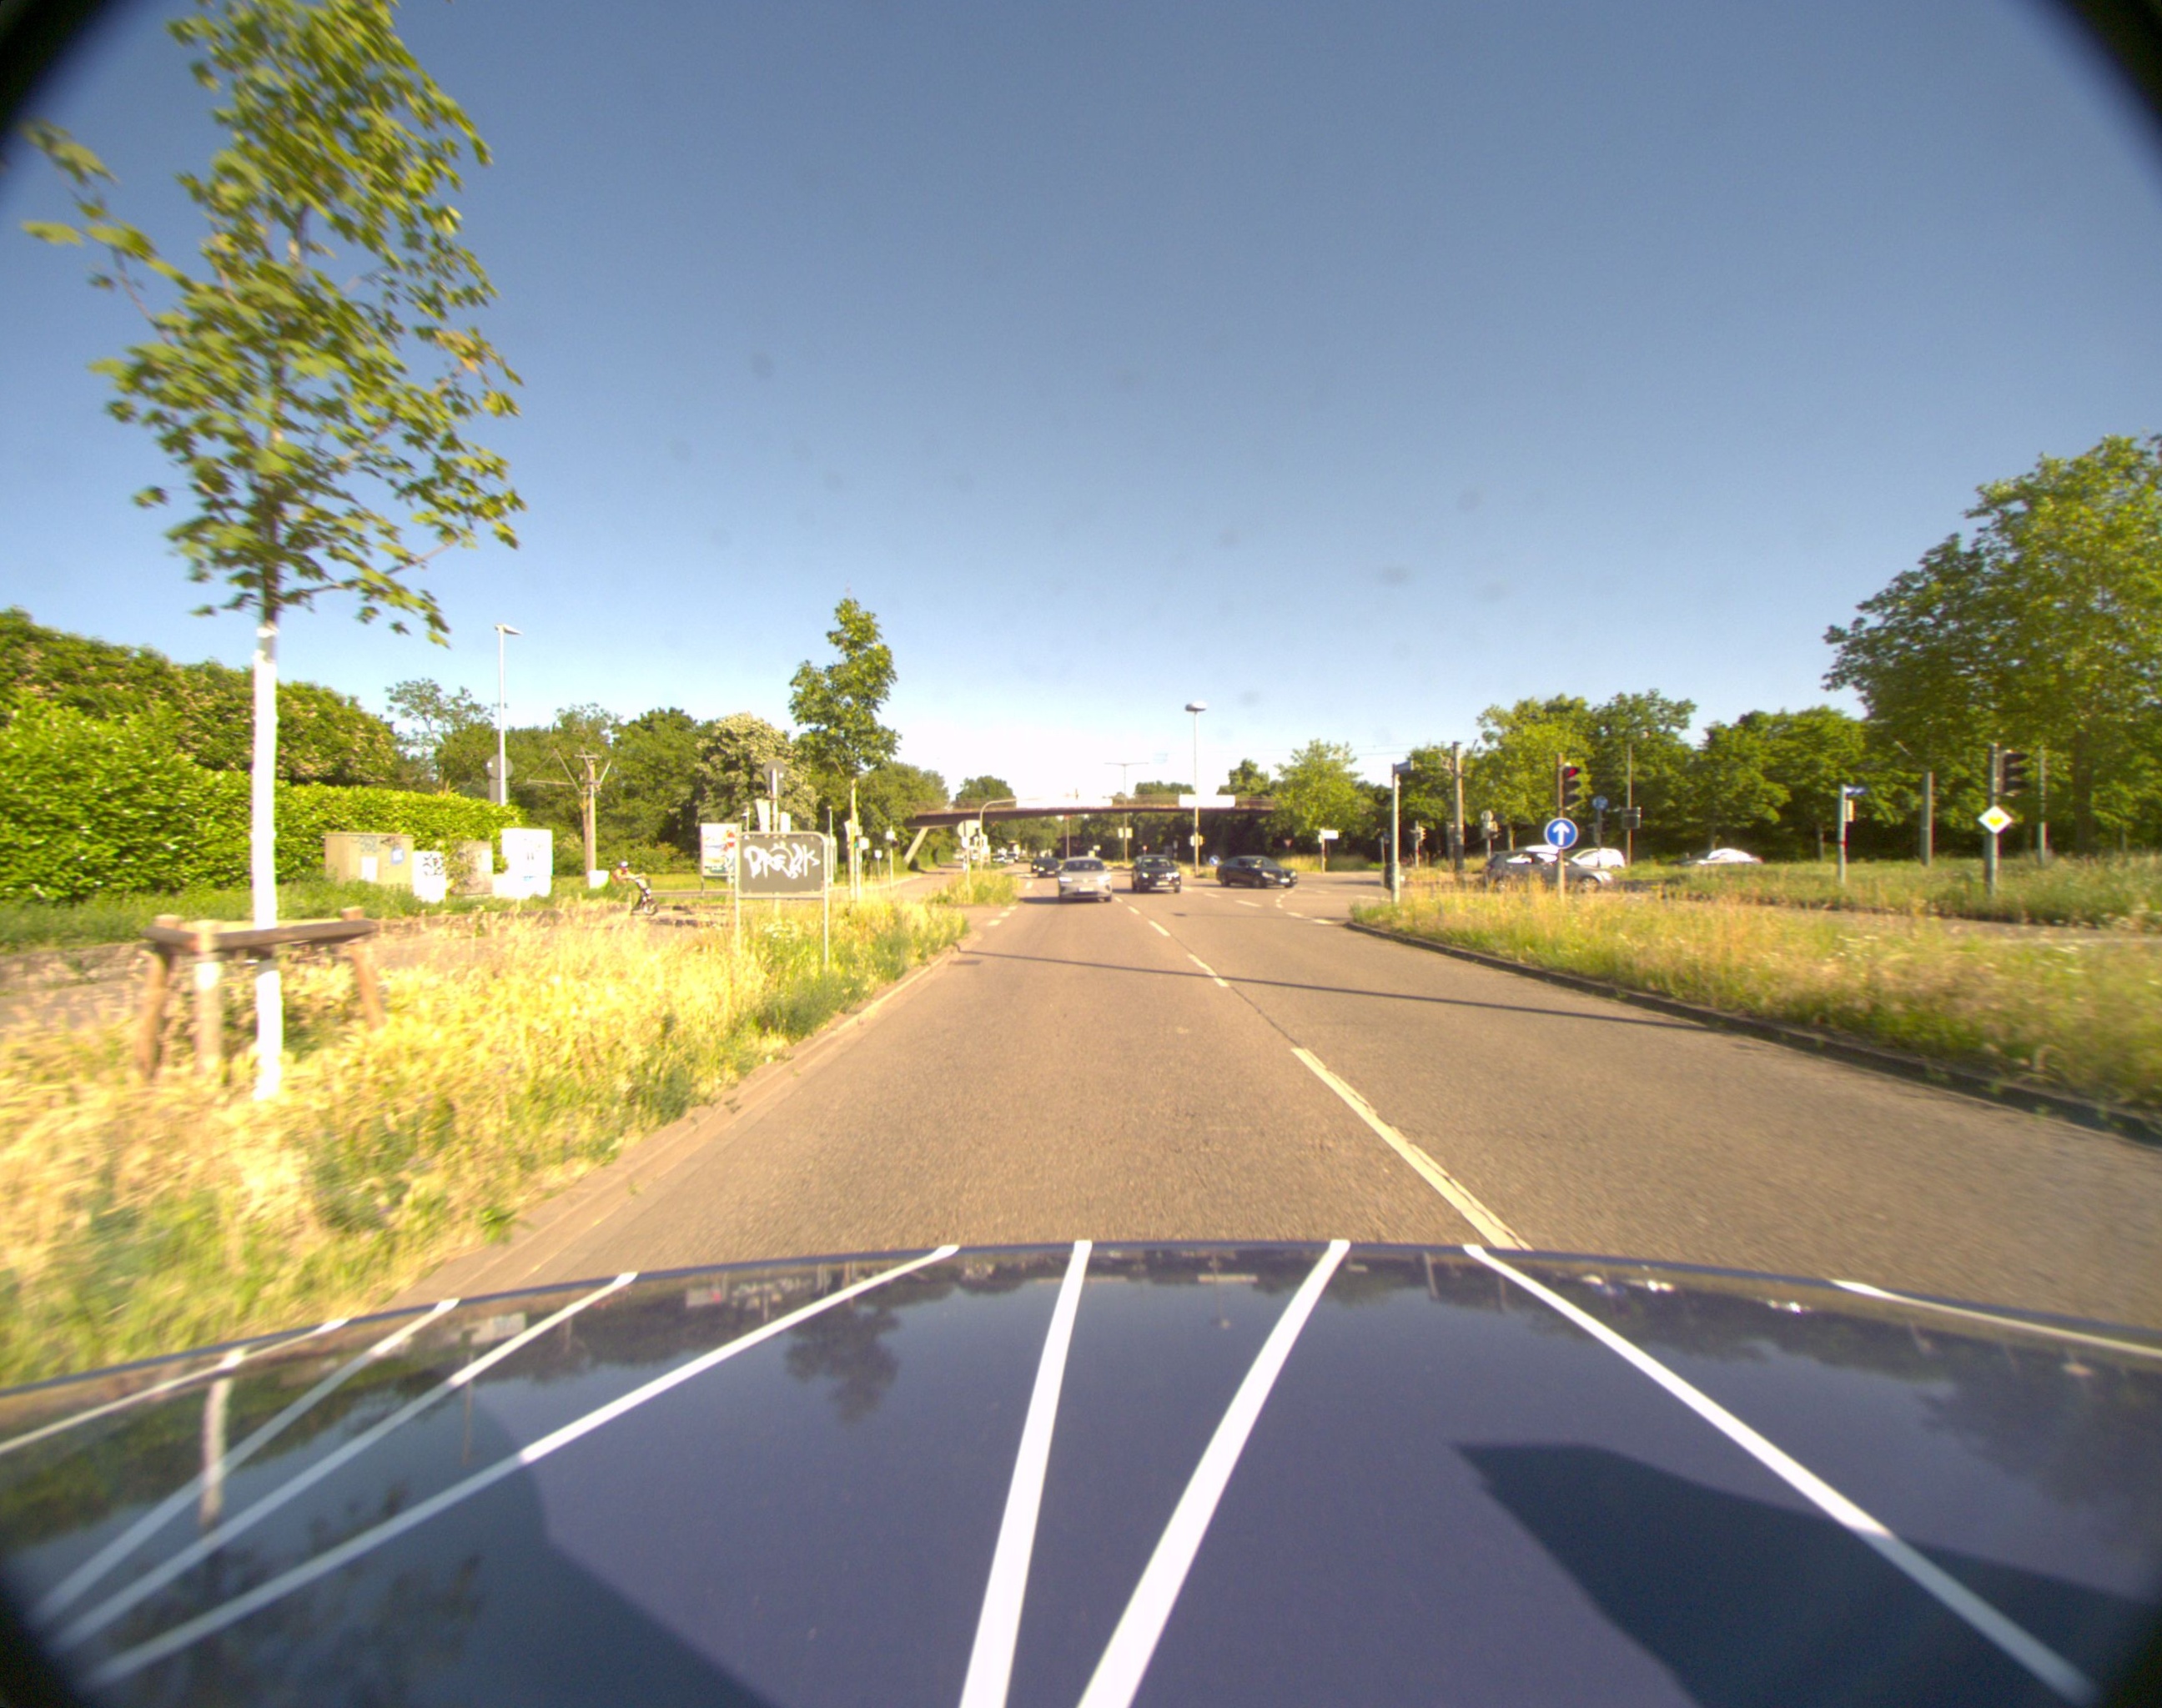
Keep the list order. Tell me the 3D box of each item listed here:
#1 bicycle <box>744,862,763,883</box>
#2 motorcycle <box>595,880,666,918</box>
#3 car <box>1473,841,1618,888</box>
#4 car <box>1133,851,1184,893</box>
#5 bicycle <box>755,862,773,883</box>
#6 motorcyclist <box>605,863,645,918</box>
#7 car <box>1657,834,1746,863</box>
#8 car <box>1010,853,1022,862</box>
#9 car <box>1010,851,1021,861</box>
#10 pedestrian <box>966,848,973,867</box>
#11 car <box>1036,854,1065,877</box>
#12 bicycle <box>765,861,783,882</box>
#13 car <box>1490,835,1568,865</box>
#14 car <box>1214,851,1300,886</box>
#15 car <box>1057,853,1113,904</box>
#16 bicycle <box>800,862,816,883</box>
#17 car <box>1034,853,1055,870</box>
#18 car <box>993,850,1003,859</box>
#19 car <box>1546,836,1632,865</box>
[{"bbox_3d":[-19.420,1.073,45.121,0.431,1.062,1.783,1,5,-3],"label":"bicycle"},{"bbox_3d":[-12.846,1.282,21.697,1.760,1.065,0.451,0,1,1],"label":"motorcycle"},{"bbox_3d":[16.910,0.394,27.888,4.375,1.561,1.851,-2,1,30],"label":"car"},{"bbox_3d":[3.358,0.735,33.667,1.714,1.653,3.855,-2,1,-1],"label":"car"},{"bbox_3d":[-18.805,1.090,45.124,0.431,1.062,1.783,1,5,-3],"label":"bicycle"},{"bbox_3d":[-13.015,1.032,21.707,0.695,1.549,0.700,0,1,1],"label":"motorcyclist"},{"bbox_3d":[36.635,-0.321,44.915,3.925,1.551,1.851,-2,1,-7],"label":"car"},{"bbox_3d":[-11.518,0.582,133.890,1.874,1.611,3.833,-2,1,-7],"label":"car"},{"bbox_3d":[-13.790,0.425,159.914,2.000,2.002,3.996,-1,0,-9],"label":"car"},{"bbox_3d":[-9.685,0.303,66.180,0.589,1.652,0.716,0,1,-8],"label":"pedestrian"},{"bbox_3d":[-2.386,0.881,58.864,1.874,1.611,3.833,-2,1,-7],"label":"car"},{"bbox_3d":[-18.236,1.047,45.169,0.431,1.062,1.783,1,5,-3],"label":"bicycle"},{"bbox_3d":[28.210,-0.258,47.912,3.999,1.744,1.776,-2,1,-7],"label":"car"},{"bbox_3d":[8.231,0.641,35.960,1.781,1.478,4.520,-1,1,-21],"label":"car"},{"bbox_3d":[0.222,0.838,27.907,1.801,1.664,4.240,-1,0,3],"label":"car"},{"bbox_3d":[-16.247,1.102,45.246,0.431,1.062,1.783,1,5,-3],"label":"bicycle"},{"bbox_3d":[-3.804,0.773,78.706,1.874,1.611,3.833,-2,1,-7],"label":"car"},{"bbox_3d":[-16.416,0.042,150.346,1.875,1.611,3.833,-2,1,-9],"label":"car"},{"bbox_3d":[29.798,-0.206,44.615,3.925,1.551,1.851,-2,1,-7],"label":"car"}]
